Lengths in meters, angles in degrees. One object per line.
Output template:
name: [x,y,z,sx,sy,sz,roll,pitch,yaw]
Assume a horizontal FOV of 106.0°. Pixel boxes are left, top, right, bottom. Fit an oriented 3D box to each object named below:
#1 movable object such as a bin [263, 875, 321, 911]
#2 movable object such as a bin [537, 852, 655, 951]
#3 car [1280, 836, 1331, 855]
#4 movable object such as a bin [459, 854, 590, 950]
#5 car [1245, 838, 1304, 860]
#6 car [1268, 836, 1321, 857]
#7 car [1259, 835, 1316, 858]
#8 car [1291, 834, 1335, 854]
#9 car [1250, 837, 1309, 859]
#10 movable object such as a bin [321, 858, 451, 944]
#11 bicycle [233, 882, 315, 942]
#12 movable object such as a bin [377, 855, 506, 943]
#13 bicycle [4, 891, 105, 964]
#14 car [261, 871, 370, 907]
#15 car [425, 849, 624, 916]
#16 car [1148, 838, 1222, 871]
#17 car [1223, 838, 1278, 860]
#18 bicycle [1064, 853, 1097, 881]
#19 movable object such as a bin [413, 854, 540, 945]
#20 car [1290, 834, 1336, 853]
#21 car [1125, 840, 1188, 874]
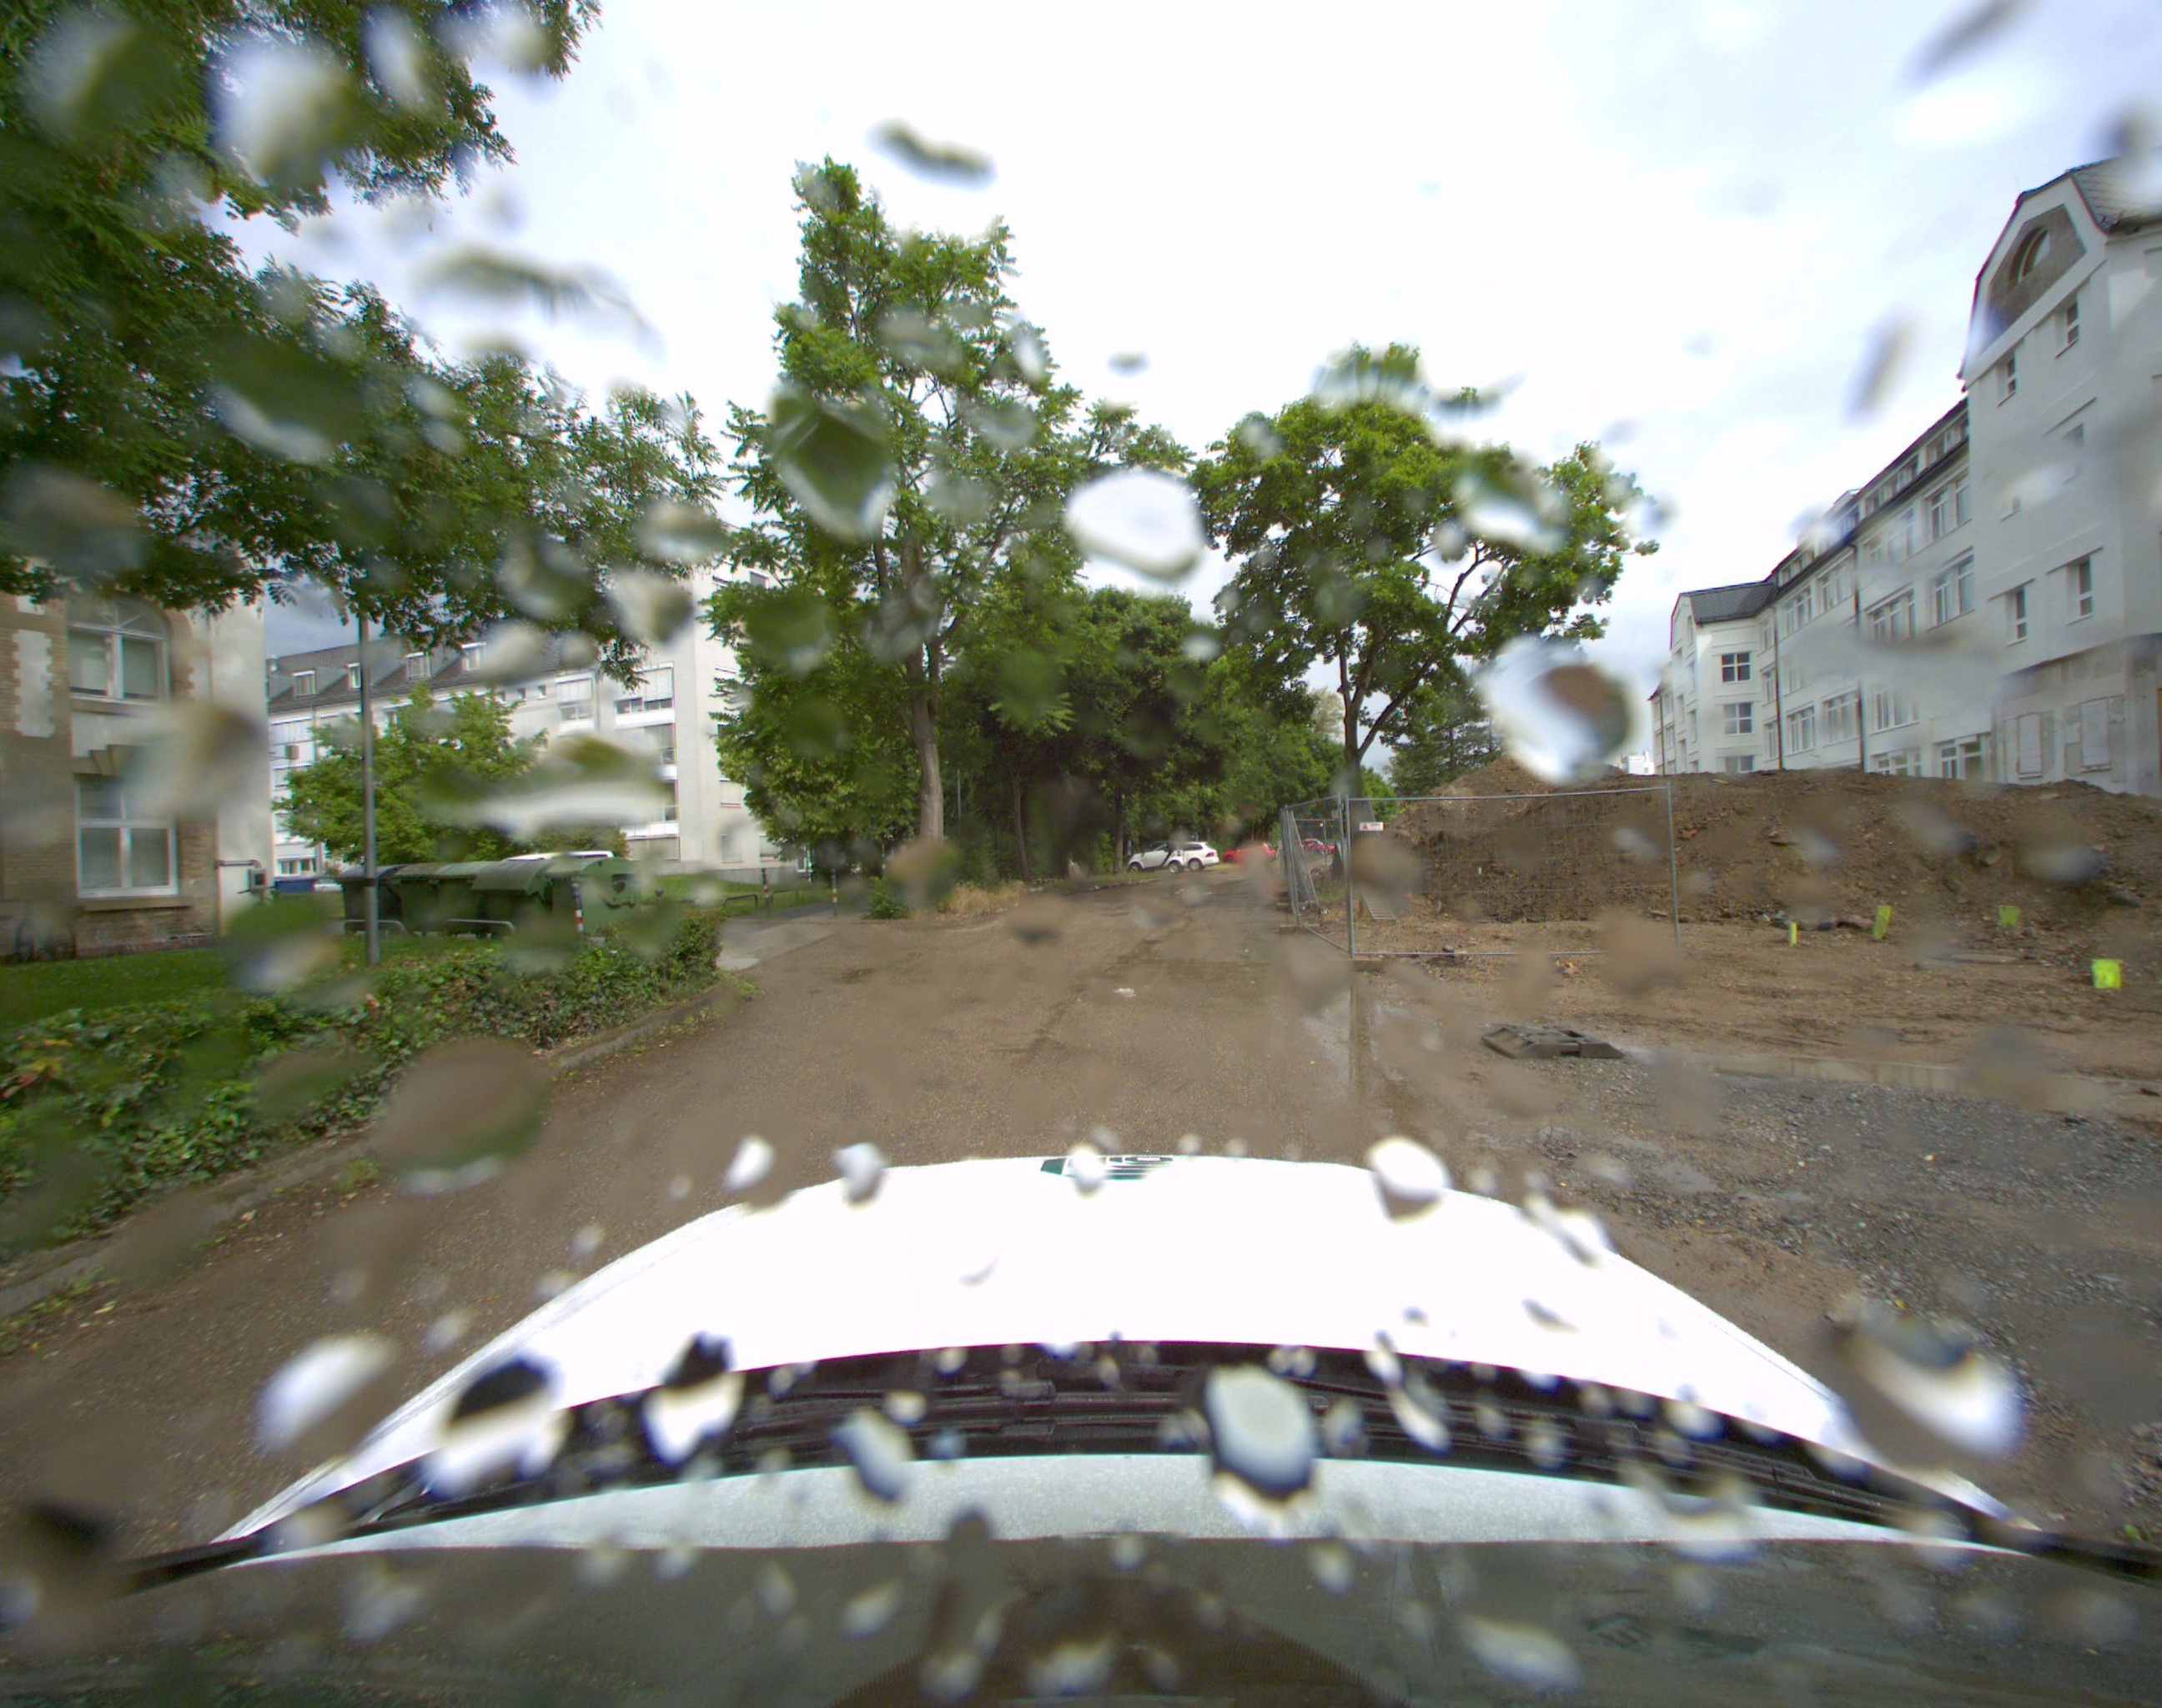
movable object such as a bin: [-31.928,1.570,32.975,1.182,1.336,1.305,-2,1,27]
movable object such as a bin: [-7.791,0.736,13.088,1.466,1.473,1.112,-2,-1,36]
car: [18.866,-0.705,68.417,3.952,1.559,1.774,0,2,22]
movable object such as a bin: [-9.221,0.755,13.534,1.387,1.483,1.174,0,0,19]
car: [13.909,-0.354,58.424,3.758,1.529,1.921,0,2,26]
car: [17.121,-0.606,65.276,3.908,1.516,1.816,0,2,21]
car: [15.958,-0.572,63.049,4.073,1.650,1.856,0,2,20]
car: [20.226,-0.861,71.037,3.558,1.620,1.879,-1,2,19]
car: [14.739,-0.437,60.412,3.950,1.496,2.006,0,2,25]
movable object such as a bin: [-13.199,0.878,15.485,1.576,1.483,1.174,-3,1,20]
bicycle: [-16.075,1.156,16.218,1.501,1.116,0.621,-3,1,25]
movable object such as a bin: [-11.726,0.816,14.967,1.479,1.483,1.174,-3,1,20]
bicycle: [-17.273,1.229,13.702,1.766,1.116,0.621,-3,1,25]
car: [-37.666,1.679,40.156,1.667,1.426,3.446,-3,2,23]
car: [-18.028,0.863,26.670,2.073,1.926,4.919,-3,-1,28]
car: [5.212,0.033,40.541,3.408,1.468,1.747,-2,2,13]
car: [11.300,-0.331,54.401,3.253,1.424,1.602,0,2,28]
bicycle: [-0.015,0.420,27.010,0.471,0.860,1.464,0,2,26]
movable object such as a bin: [-10.484,0.761,14.163,1.386,1.483,1.174,-1,0,21]
car: [20.873,-0.968,73.277,3.823,1.573,1.969,0,2,21]
car: [3.597,0.138,38.576,2.734,1.484,1.599,-2,2,13]
